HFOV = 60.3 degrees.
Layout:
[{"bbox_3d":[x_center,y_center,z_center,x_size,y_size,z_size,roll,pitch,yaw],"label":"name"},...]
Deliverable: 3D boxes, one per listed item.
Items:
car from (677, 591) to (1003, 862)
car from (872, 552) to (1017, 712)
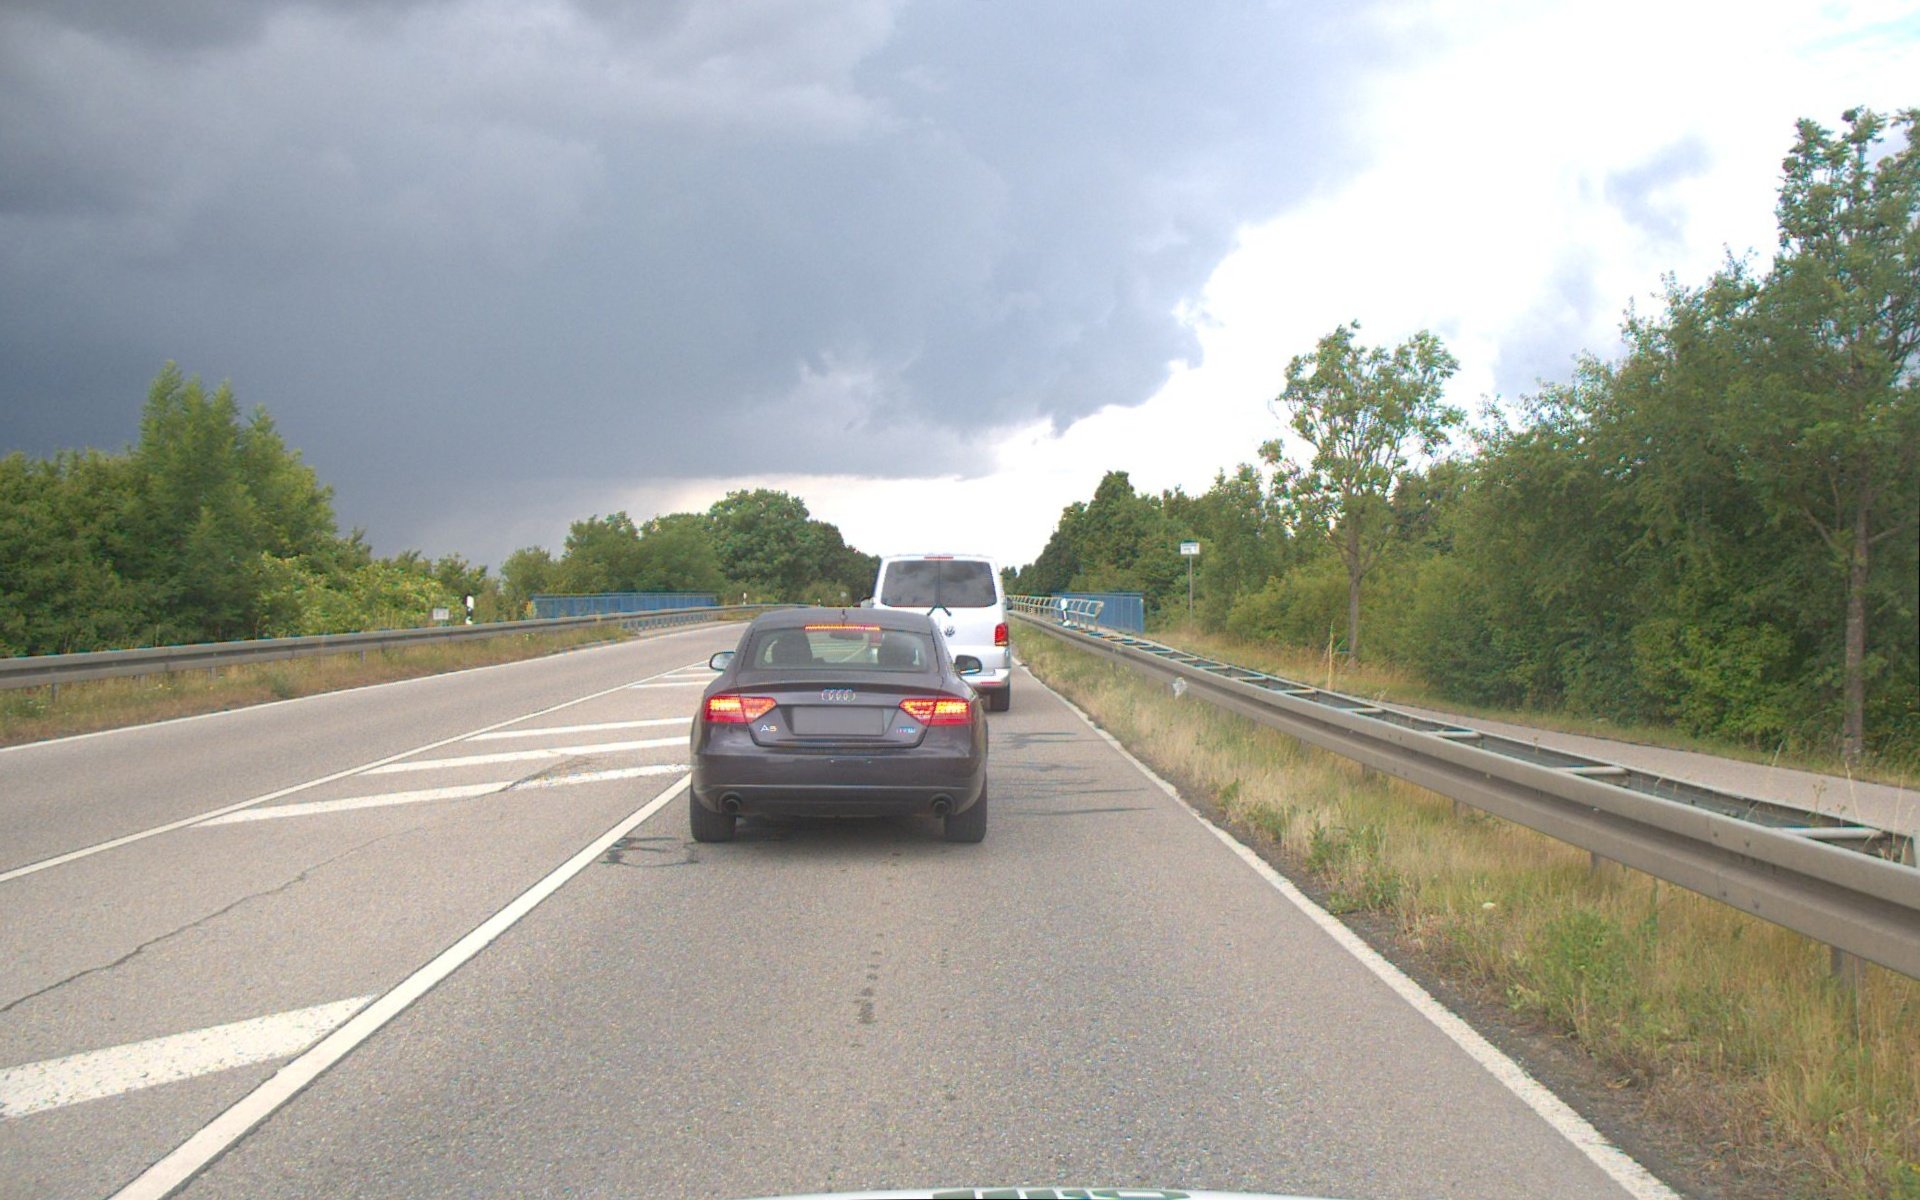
[{"bbox_3d":[-0.684,0.699,10.986,1.749,1.448,3.999,1,0,-1],"label":"car"},{"bbox_3d":[-0.221,0.400,22.119,1.749,1.923,3.999,1,0,-1],"label":"car"}]
